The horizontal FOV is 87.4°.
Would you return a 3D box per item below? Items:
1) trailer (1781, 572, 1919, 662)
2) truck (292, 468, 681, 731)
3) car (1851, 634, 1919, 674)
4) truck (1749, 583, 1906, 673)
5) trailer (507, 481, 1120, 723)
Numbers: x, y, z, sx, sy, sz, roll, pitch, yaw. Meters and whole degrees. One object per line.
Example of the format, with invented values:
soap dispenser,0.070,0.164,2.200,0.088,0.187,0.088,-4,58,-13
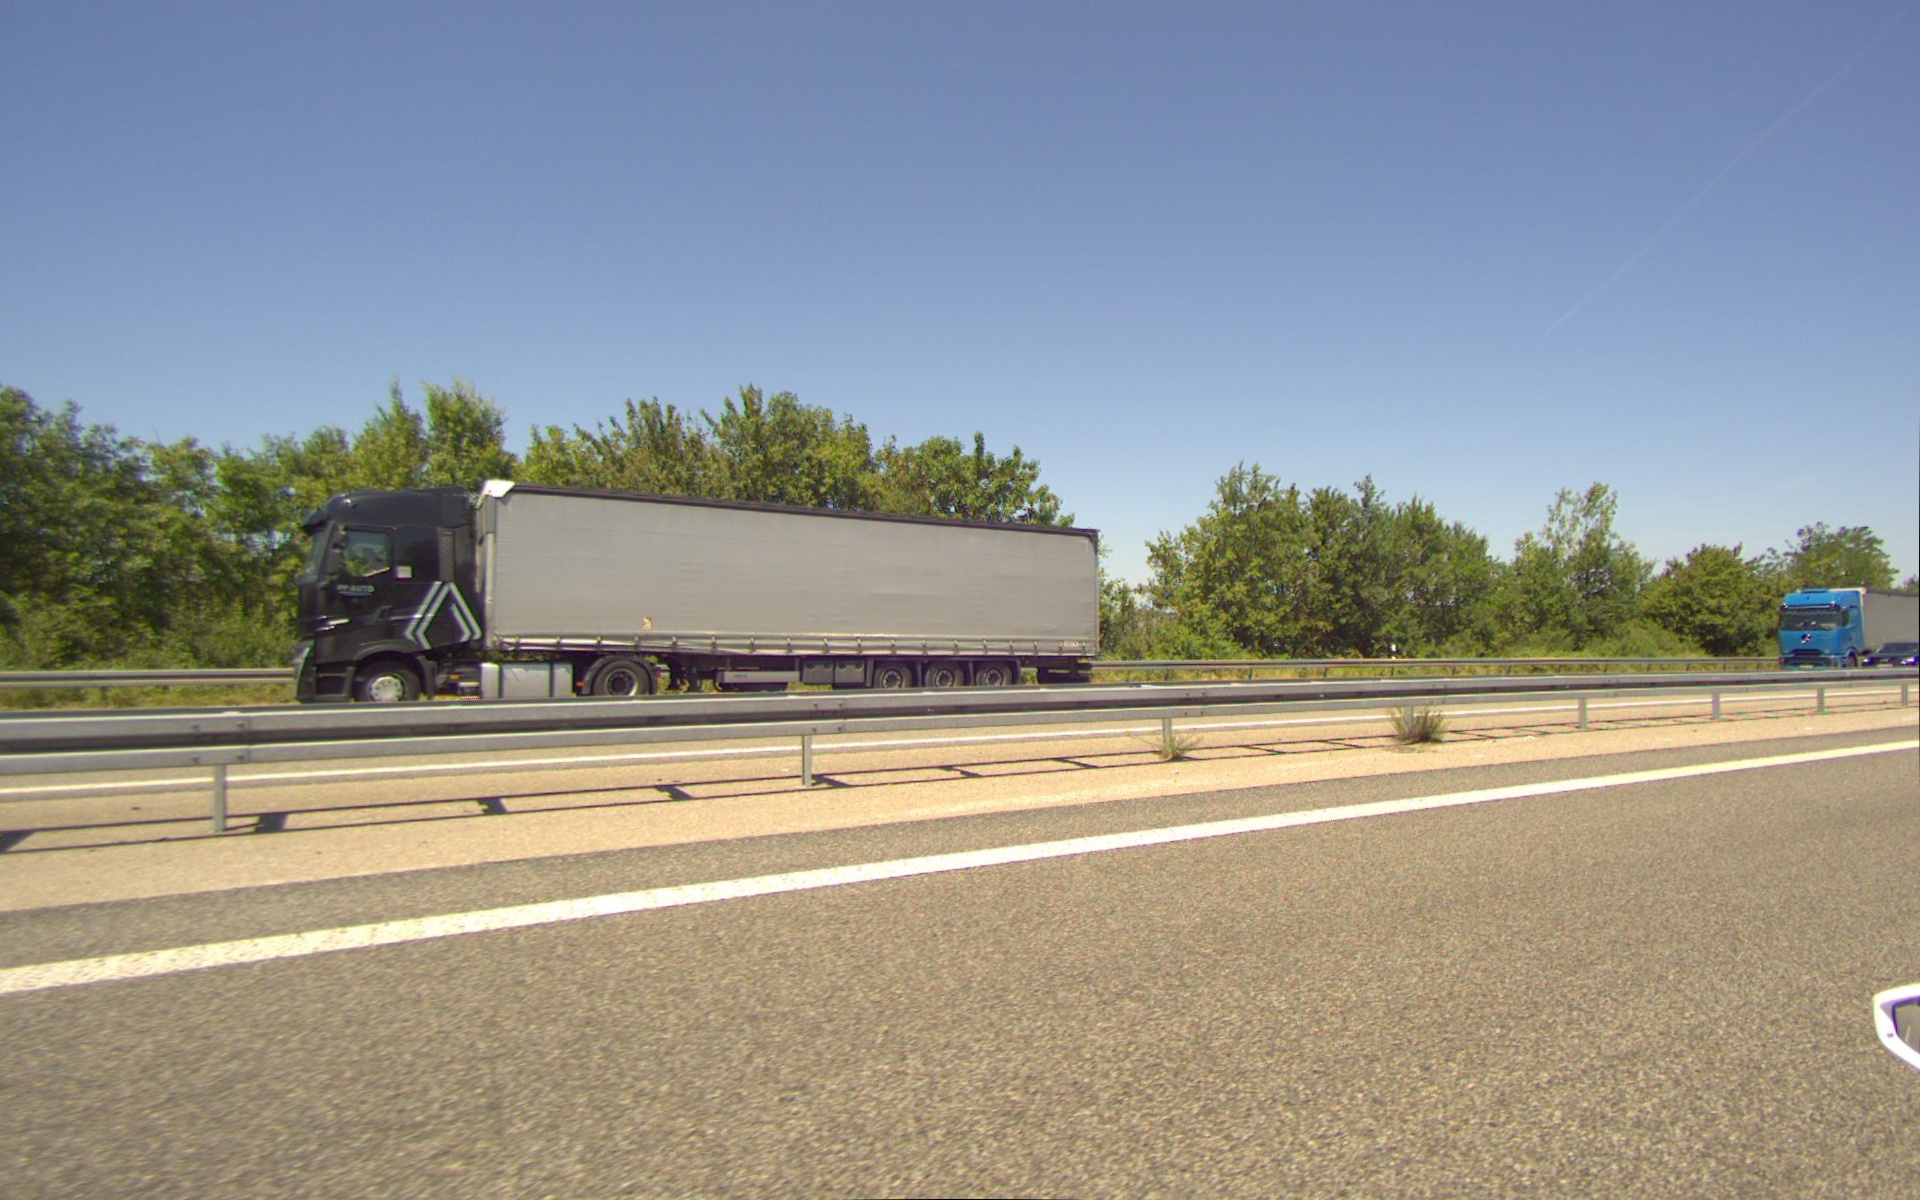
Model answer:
trailer,47.496,0.928,52.076,13.384,4.242,3.281,1,-2,-31
truck,-8.738,0.039,18.914,6.121,4.184,3.182,1,-1,-30
car,39.605,2.246,42.300,4.264,1.483,1.840,2,2,-31
truck,42.345,1.321,48.950,8.624,4.039,3.236,1,-1,-30
trailer,-2.671,0.160,22.506,13.384,4.242,3.332,1,-2,-31
